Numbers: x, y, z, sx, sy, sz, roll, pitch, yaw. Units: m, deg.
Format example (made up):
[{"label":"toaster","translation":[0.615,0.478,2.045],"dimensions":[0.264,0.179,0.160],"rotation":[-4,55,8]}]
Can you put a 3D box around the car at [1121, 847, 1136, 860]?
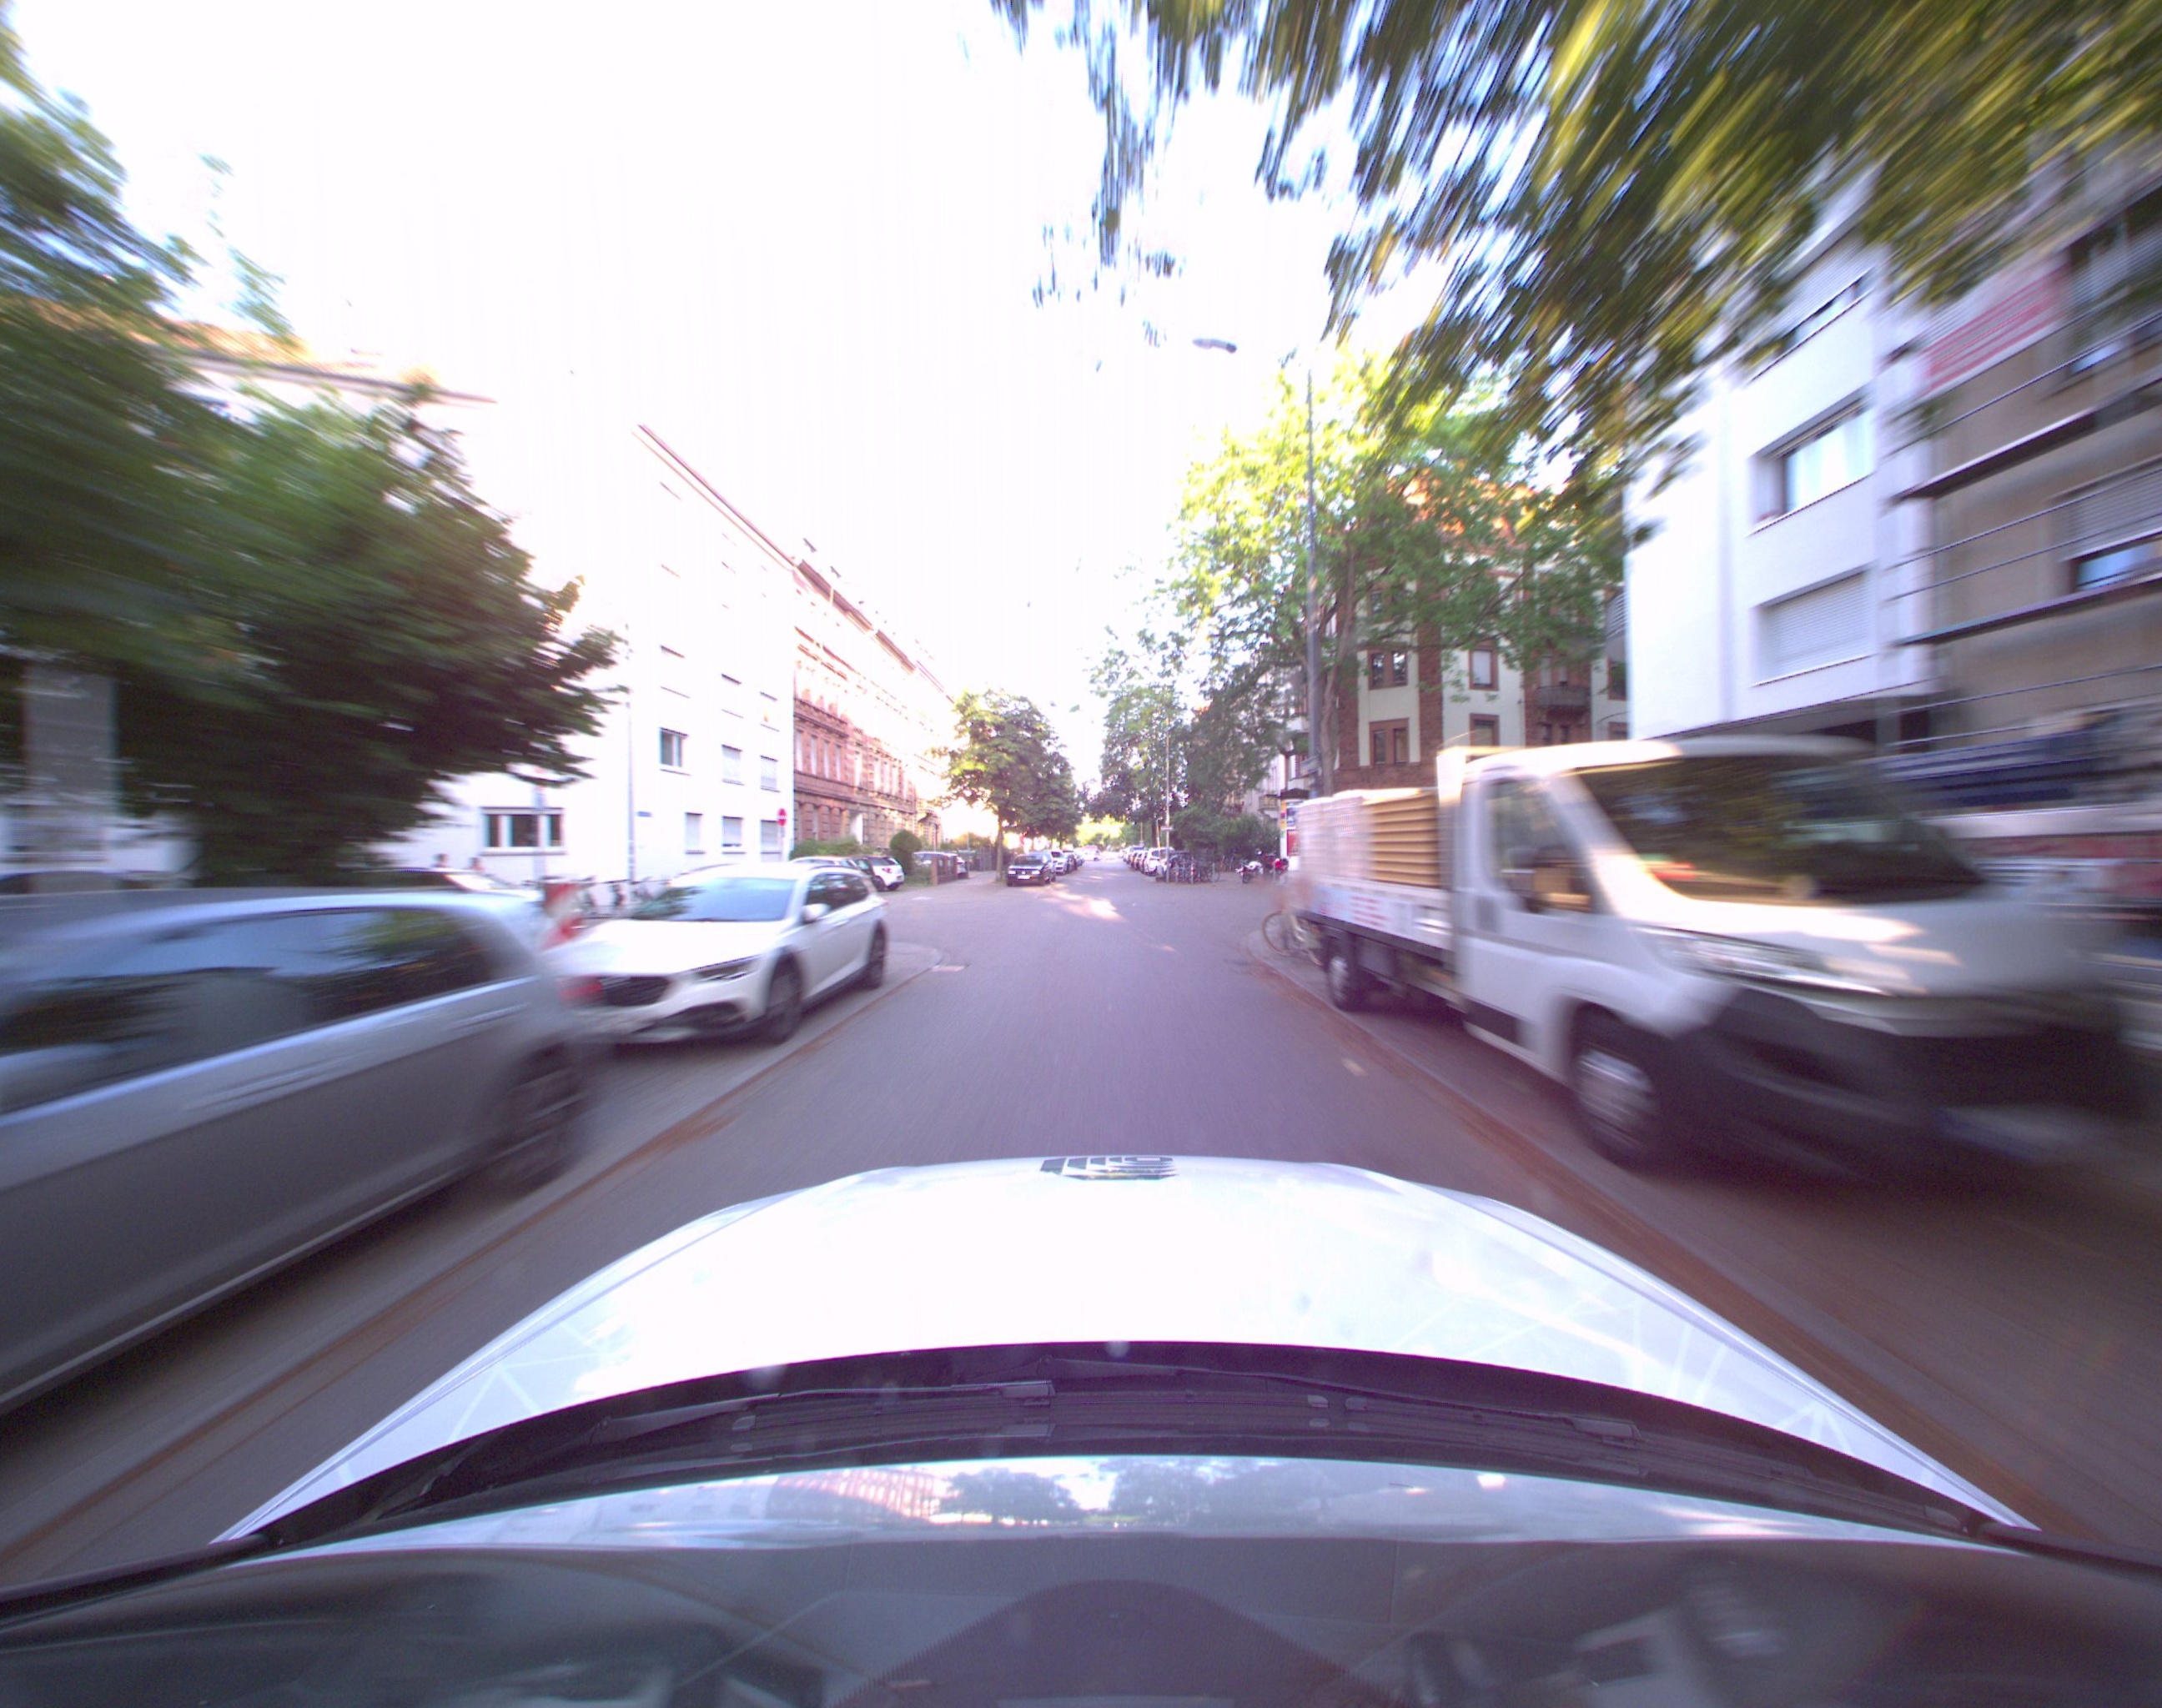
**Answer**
[{"label":"car","translation":[6.204,-0.085,106.070],"dimensions":[1.682,1.606,3.938],"rotation":[-1,0,-1]}]

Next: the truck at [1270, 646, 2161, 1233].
[{"label":"truck","translation":[3.323,0.337,6.566],"dimensions":[1.971,2.244,6.775],"rotation":[-1,0,0]}]

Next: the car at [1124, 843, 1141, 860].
[{"label":"car","translation":[5.846,-0.253,92.598],"dimensions":[1.675,1.941,3.879],"rotation":[-1,0,-1]}]

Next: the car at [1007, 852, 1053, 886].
[{"label":"car","translation":[-2.319,0.669,38.061],"dimensions":[1.609,1.470,3.966],"rotation":[0,0,4]}]

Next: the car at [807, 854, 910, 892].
[{"label":"car","translation":[-8.971,0.756,33.025],"dimensions":[3.541,1.447,1.823],"rotation":[0,1,10]}]

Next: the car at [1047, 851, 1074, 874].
[{"label":"car","translation":[-1.479,0.624,59.154],"dimensions":[1.709,1.566,3.782],"rotation":[-1,-1,2]}]

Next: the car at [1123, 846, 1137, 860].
[{"label":"car","translation":[6.783,-0.126,113.473],"dimensions":[1.682,1.811,3.938],"rotation":[-1,0,-1]}]

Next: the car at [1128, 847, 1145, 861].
[{"label":"car","translation":[6.048,-0.013,88.527],"dimensions":[1.534,1.521,3.430],"rotation":[-1,0,-1]}]

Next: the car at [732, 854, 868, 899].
[{"label":"car","translation":[-9.621,0.765,28.052],"dimensions":[4.067,1.447,1.714],"rotation":[0,1,10]}]

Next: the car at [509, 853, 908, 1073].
[{"label":"car","translation":[-3.200,0.782,8.257],"dimensions":[1.683,1.502,4.740],"rotation":[2,1,2]}]

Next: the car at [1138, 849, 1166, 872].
[{"label":"car","translation":[5.111,0.448,58.911],"dimensions":[1.682,1.606,3.747],"rotation":[-1,0,-1]}]

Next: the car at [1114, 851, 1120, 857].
[{"label":"car","translation":[10.179,-0.101,231.990],"dimensions":[1.709,1.596,3.484],"rotation":[-1,0,2]}]

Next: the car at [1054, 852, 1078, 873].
[{"label":"car","translation":[-1.160,0.612,63.707],"dimensions":[1.709,1.566,3.789],"rotation":[-1,0,2]}]

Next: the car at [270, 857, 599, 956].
[{"label":"car","translation":[-11.744,0.899,15.098],"dimensions":[4.450,1.552,1.704],"rotation":[-1,1,-8]}]

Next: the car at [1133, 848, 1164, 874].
[{"label":"car","translation":[4.461,0.462,54.105],"dimensions":[1.682,1.606,4.208],"rotation":[-1,0,-1]}]

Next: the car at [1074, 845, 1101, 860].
[{"label":"car","translation":[1.070,-0.267,135.180],"dimensions":[4.336,2.318,1.745],"rotation":[-1,0,0]}]

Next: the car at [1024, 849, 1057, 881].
[{"label":"car","translation":[-2.103,0.554,42.934],"dimensions":[1.591,1.603,3.742],"rotation":[-1,0,-2]}]

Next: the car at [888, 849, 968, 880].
[{"label":"car","translation":[-8.455,0.566,45.245],"dimensions":[4.079,1.527,1.709],"rotation":[2,0,0]}]

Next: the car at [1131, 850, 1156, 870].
[{"label":"car","translation":[4.926,0.496,64.298],"dimensions":[1.680,1.441,4.211],"rotation":[-3,0,1]}]

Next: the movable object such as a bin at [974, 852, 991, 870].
[{"label":"movable object such as a bin","translation":[-7.380,0.528,61.142],"dimensions":[1.007,1.321,1.007],"rotation":[1,1,6]}]

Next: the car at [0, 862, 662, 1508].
[{"label":"car","translation":[-3.371,0.808,2.575],"dimensions":[1.683,1.502,4.403],"rotation":[-2,0,1]}]

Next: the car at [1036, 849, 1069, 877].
[{"label":"car","translation":[-1.838,0.549,53.989],"dimensions":[1.914,1.717,4.430],"rotation":[-1,0,2]}]

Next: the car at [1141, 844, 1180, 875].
[{"label":"car","translation":[4.726,0.318,49.060],"dimensions":[1.792,1.711,4.599],"rotation":[-1,0,-1]}]

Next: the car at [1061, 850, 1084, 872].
[{"label":"car","translation":[-0.682,0.545,67.700],"dimensions":[1.709,1.790,4.217],"rotation":[-1,0,2]}]

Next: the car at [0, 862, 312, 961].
[{"label":"car","translation":[-16.680,0.986,14.462],"dimensions":[4.093,1.552,1.703],"rotation":[-1,-2,-10]}]

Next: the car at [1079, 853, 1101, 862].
[{"label":"car","translation":[1.477,0.528,132.569],"dimensions":[3.609,1.461,1.605],"rotation":[-1,0,-2]}]

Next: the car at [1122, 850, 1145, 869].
[{"label":"car","translation":[4.640,0.484,72.373],"dimensions":[1.682,1.606,3.938],"rotation":[-1,0,-1]}]

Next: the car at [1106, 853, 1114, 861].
[{"label":"car","translation":[6.273,0.590,175.383],"dimensions":[1.806,1.596,3.484],"rotation":[-1,0,2]}]

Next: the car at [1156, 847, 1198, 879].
[{"label":"car","translation":[5.014,0.440,42.950],"dimensions":[1.682,1.592,3.656],"rotation":[-1,0,-2]}]

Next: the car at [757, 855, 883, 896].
[{"label":"car","translation":[-9.704,0.783,30.406],"dimensions":[4.065,1.447,1.823],"rotation":[0,1,12]}]
